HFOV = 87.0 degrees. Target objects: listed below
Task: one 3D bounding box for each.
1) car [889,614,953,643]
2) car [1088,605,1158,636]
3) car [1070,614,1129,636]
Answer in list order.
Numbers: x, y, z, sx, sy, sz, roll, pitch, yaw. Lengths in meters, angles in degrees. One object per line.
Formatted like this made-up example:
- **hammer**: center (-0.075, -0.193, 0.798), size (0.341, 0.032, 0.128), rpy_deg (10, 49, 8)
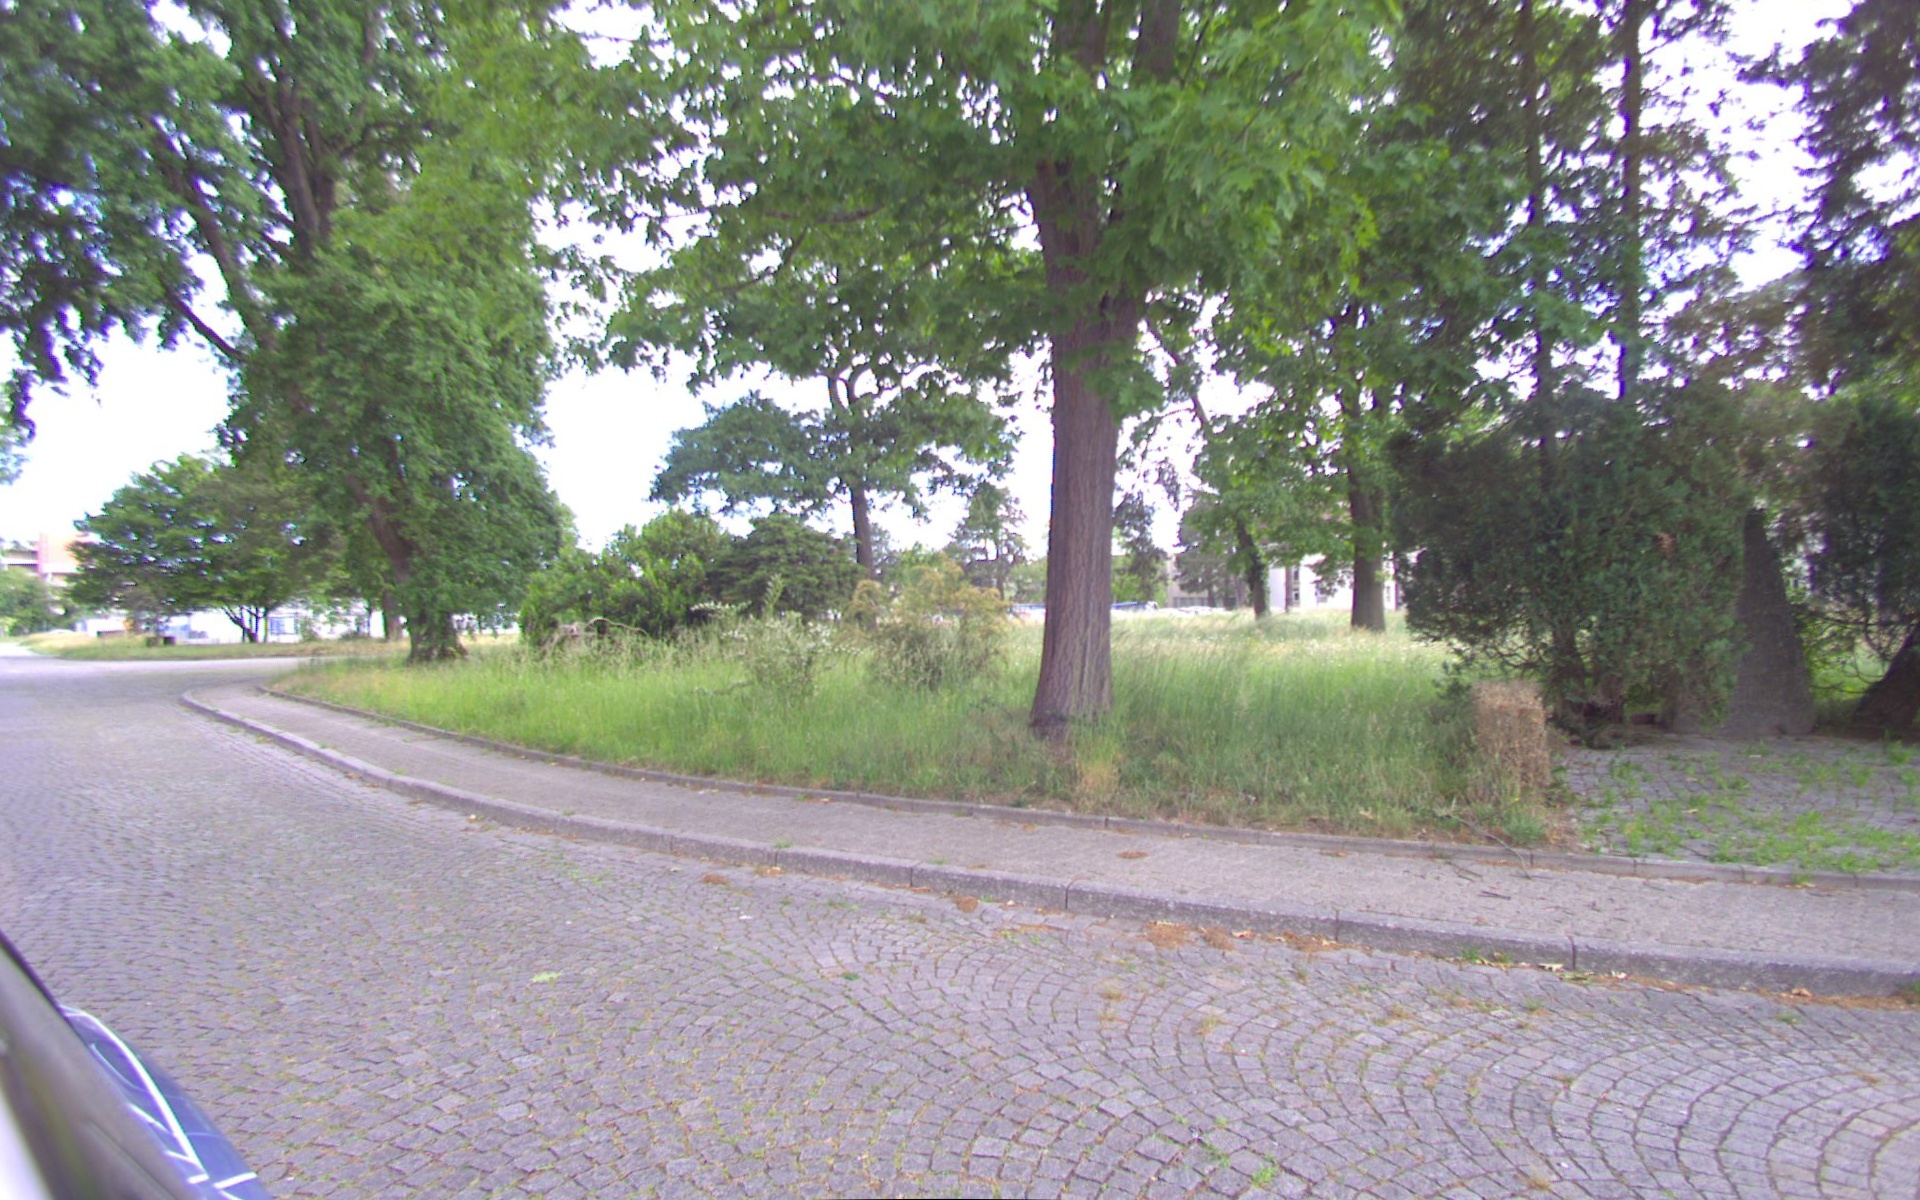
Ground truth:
- **car**: center (-2.183, 1.609, 56.533), size (3.501, 1.493, 1.579), rpy_deg (-4, -3, 45)
- **car**: center (11.234, 1.410, 69.904), size (4.547, 1.916, 1.767), rpy_deg (-4, -3, 45)
- **car**: center (9.387, 1.684, 68.240), size (3.696, 1.349, 1.561), rpy_deg (-4, -3, 45)
